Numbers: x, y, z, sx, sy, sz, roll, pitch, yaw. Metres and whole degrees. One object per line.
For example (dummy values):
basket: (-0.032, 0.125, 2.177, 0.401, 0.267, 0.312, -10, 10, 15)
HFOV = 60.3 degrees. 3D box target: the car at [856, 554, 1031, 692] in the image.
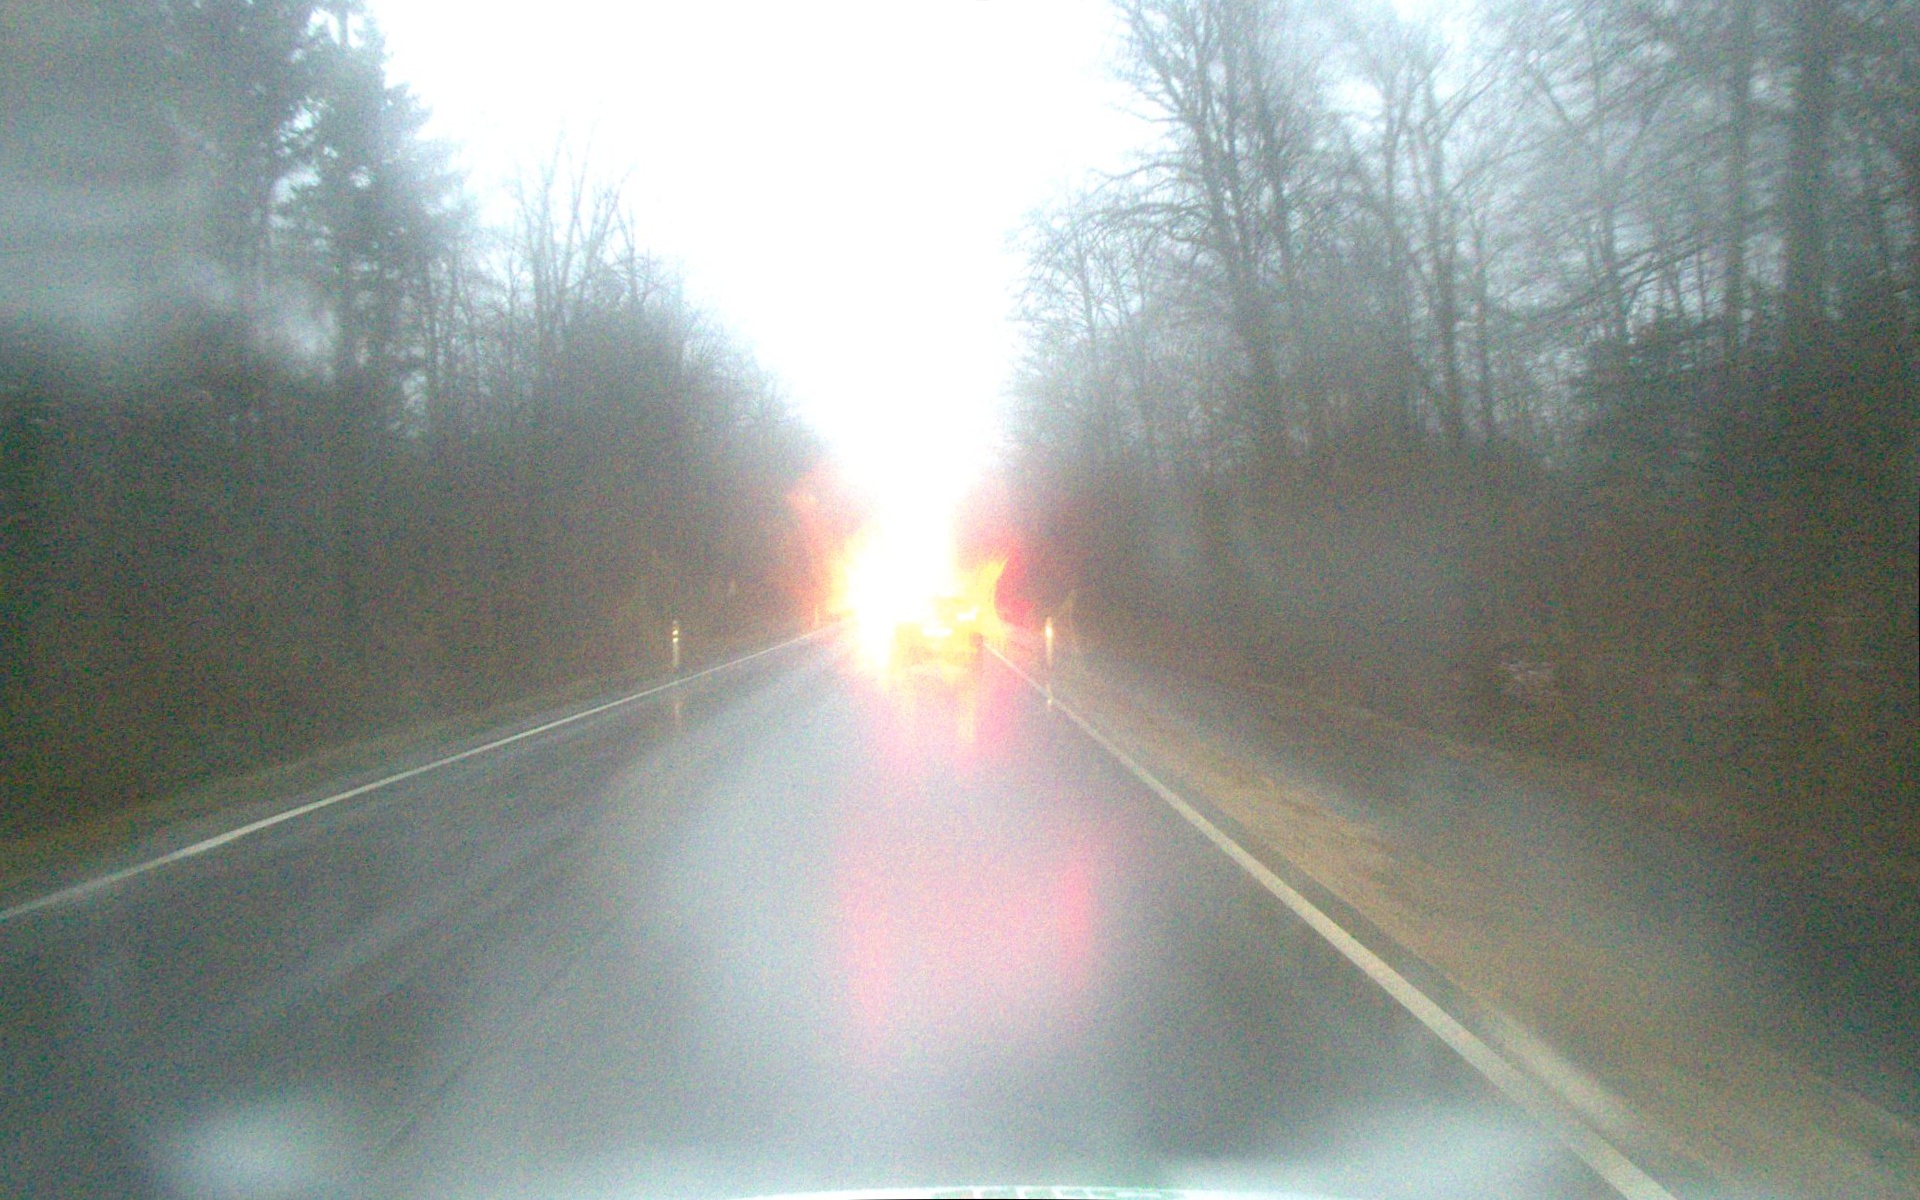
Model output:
car: (-0.316, 0.413, 33.077, 3.118, 2.428, 6.635, 1, 0, 0)
